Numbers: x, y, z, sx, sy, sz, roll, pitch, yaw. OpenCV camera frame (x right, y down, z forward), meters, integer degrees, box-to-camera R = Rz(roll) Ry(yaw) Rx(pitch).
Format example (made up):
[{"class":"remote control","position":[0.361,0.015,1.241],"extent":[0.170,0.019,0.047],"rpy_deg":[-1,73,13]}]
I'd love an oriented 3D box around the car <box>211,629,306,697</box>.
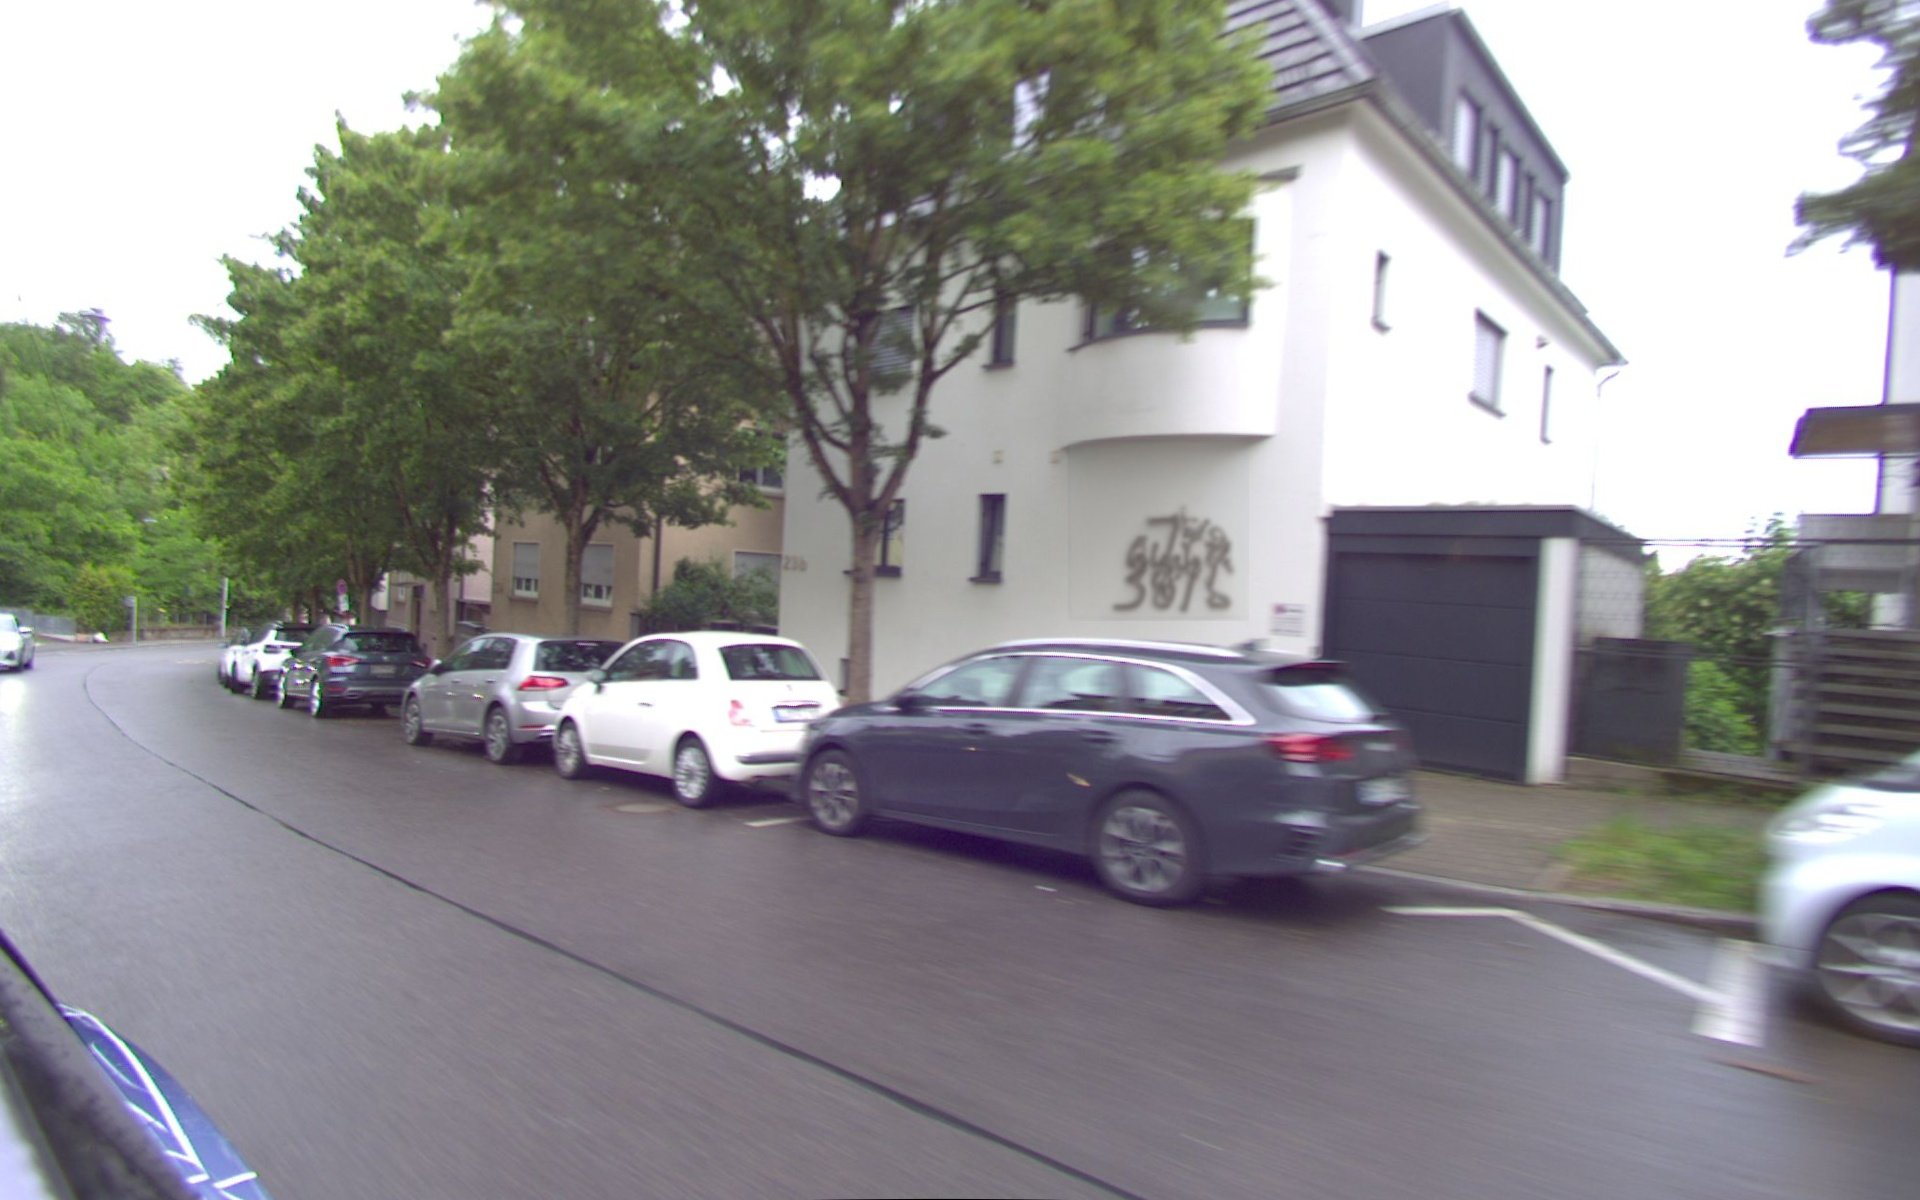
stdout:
[{"class":"car","position":[-17.723,1.559,25.504],"extent":[1.597,1.482,3.676],"rpy_deg":[9,-7,-37]}]

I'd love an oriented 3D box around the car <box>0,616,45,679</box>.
[{"class":"car","position":[-27.268,1.280,28.210],"extent":[1.980,1.674,4.456],"rpy_deg":[4,-4,-35]}]

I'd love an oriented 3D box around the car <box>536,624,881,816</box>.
[{"class":"car","position":[-2.516,1.051,9.714],"extent":[3.471,1.500,1.556],"rpy_deg":[-2,-7,45]}]

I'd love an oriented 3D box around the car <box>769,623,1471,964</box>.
[{"class":"car","position":[0.764,0.993,6.801],"extent":[4.476,1.500,1.646],"rpy_deg":[0,-5,44]}]

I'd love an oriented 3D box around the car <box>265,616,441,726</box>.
[{"class":"car","position":[-10.676,1.186,17.684],"extent":[3.926,1.671,1.599],"rpy_deg":[-1,-6,45]}]

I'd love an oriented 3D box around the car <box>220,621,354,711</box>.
[{"class":"car","position":[-14.529,1.379,21.760],"extent":[1.574,1.671,3.927],"rpy_deg":[10,-7,-43]}]

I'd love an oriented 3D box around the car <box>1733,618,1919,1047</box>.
[{"class":"car","position":[4.816,0.896,3.442],"extent":[3.383,1.522,1.539],"rpy_deg":[0,-5,42]}]

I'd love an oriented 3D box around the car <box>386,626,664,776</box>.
[{"class":"car","position":[-5.415,1.139,12.365],"extent":[3.973,1.481,1.600],"rpy_deg":[0,-5,44]}]
